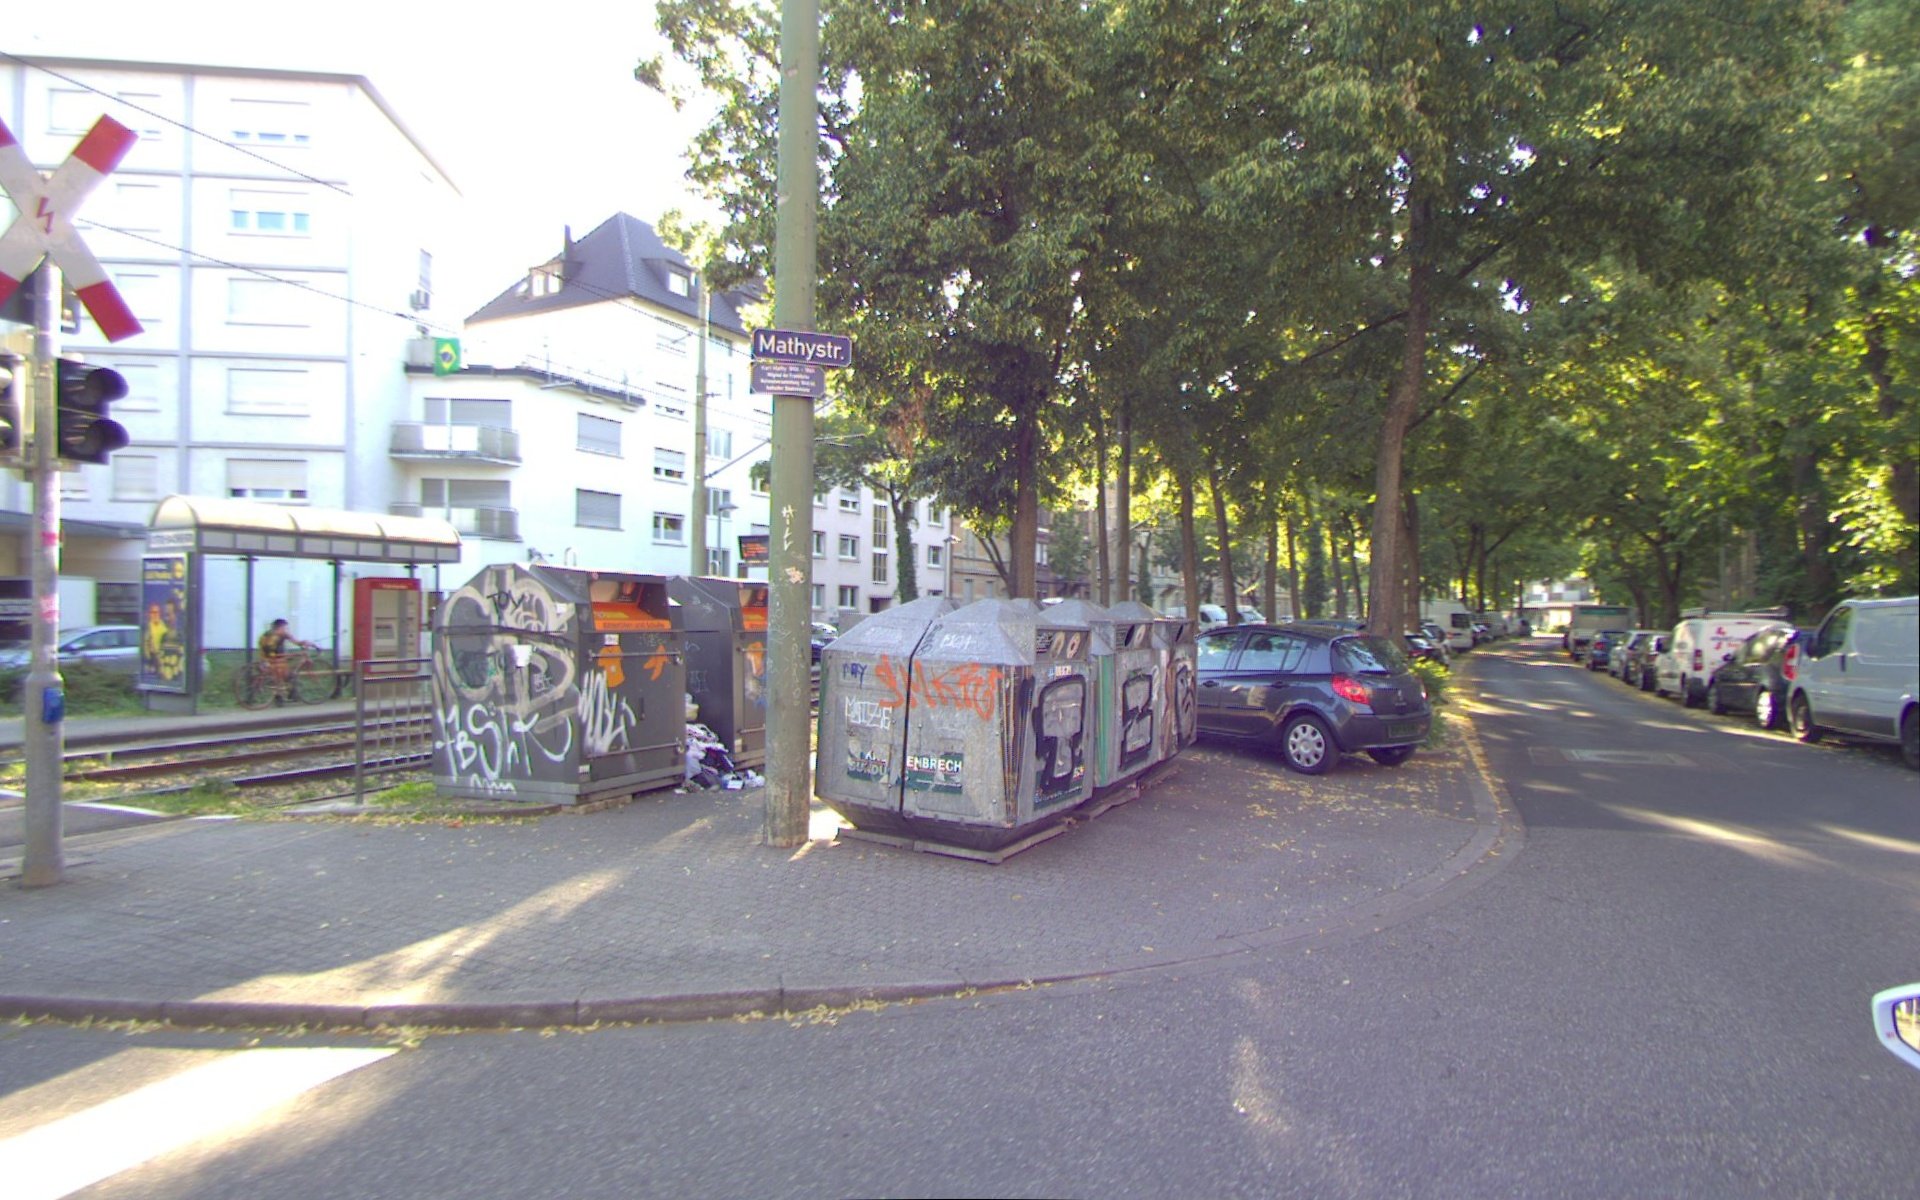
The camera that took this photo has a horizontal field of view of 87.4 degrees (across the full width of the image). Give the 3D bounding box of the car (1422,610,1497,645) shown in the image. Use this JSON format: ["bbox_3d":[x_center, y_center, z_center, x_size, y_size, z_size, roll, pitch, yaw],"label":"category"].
[{"bbox_3d":[33.208,1.802,66.849,1.798,2.067,4.060,3,0,-29],"label":"car"}]

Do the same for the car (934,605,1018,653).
[{"bbox_3d":[0.590,1.250,41.656,1.832,1.771,4.218,-2,-3,-24],"label":"car"}]

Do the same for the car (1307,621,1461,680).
[{"bbox_3d":[12.532,1.480,29.848,1.724,1.409,3.783,3,0,-41],"label":"car"}]

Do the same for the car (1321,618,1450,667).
[{"bbox_3d":[15.033,1.480,35.609,1.724,1.440,3.783,3,0,-41],"label":"car"}]

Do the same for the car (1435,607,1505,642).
[{"bbox_3d":[36.617,1.728,72.231,1.798,2.239,4.060,3,0,-29],"label":"car"}]

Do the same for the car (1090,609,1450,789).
[{"bbox_3d":[3.381,0.978,11.545,1.593,1.541,3.696,1,2,-37],"label":"car"}]

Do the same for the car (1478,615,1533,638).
[{"bbox_3d":[49.887,2.397,91.967,1.798,1.813,4.060,3,0,-29],"label":"car"}]

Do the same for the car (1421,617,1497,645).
[{"bbox_3d":[32.069,1.953,64.661,1.798,1.493,4.060,3,0,-29],"label":"car"}]

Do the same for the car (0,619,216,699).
[{"bbox_3d":[-17.798,1.137,20.405,1.684,1.465,3.997,-1,-1,25],"label":"car"}]

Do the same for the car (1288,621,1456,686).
[{"bbox_3d":[11.087,1.403,27.194,1.724,1.409,3.783,3,0,-41],"label":"car"}]

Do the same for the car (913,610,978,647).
[{"bbox_3d":[-0.768,1.553,55.231,1.686,1.958,3.990,-1,-1,32],"label":"car"}]

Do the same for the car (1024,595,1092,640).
[{"bbox_3d":[6.754,1.193,68.641,2.516,2.925,5.468,-1,-1,32],"label":"car"}]

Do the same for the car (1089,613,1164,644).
[{"bbox_3d":[9.393,1.640,57.013,1.837,1.492,4.206,-1,-3,-32],"label":"car"}]

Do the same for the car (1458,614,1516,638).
[{"bbox_3d":[46.057,2.254,87.828,1.798,1.813,4.060,3,0,-29],"label":"car"}]

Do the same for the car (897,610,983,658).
[{"bbox_3d":[-0.837,1.379,39.384,1.832,1.672,4.218,-2,-3,-24],"label":"car"}]

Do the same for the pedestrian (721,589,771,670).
[{"bbox_3d":[-5.204,0.709,24.462,0.834,1.936,0.837,0,-1,23],"label":"pedestrian"}]

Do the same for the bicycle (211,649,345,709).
[{"bbox_3d":[-10.164,1.154,15.023,0.442,0.794,1.641,0,-1,27],"label":"bicycle"}]

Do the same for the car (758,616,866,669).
[{"bbox_3d":[-4.756,1.368,31.792,1.592,1.477,4.200,-1,-3,-36],"label":"car"}]

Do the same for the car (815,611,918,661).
[{"bbox_3d":[-3.253,1.259,34.256,1.592,1.477,4.200,-1,-3,-36],"label":"car"}]

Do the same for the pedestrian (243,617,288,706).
[{"bbox_3d":[-10.512,0.916,15.210,0.331,1.318,0.451,0,0,27],"label":"pedestrian"}]

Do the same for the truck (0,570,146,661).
[{"bbox_3d":[-27.339,0.456,29.618,4.878,2.568,1.999,1,-1,-5],"label":"truck"}]

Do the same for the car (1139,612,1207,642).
[{"bbox_3d":[13.744,1.782,64.943,1.837,1.721,4.206,-1,-3,-32],"label":"car"}]

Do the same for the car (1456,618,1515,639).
[{"bbox_3d":[44.625,2.369,85.327,1.798,1.493,4.060,3,0,-29],"label":"car"}]

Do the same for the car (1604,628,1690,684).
[{"bbox_3d":[20.145,1.581,29.577,1.547,1.487,3.597,0,-1,25],"label":"car"}]

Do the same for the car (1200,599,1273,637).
[{"bbox_3d":[21.290,1.452,77.506,2.248,2.605,5.226,-1,-3,-32],"label":"car"}]

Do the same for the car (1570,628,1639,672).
[{"bbox_3d":[22.262,1.684,34.783,1.547,1.403,3.597,0,-1,25],"label":"car"}]

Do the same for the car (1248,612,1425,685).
[{"bbox_3d":[9.463,1.193,25.467,1.724,1.516,3.783,3,0,-41],"label":"car"}]

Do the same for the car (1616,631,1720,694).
[{"bbox_3d":[17.775,1.512,25.360,1.547,1.404,3.597,0,-1,25],"label":"car"}]

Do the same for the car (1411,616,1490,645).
[{"bbox_3d":[30.472,1.897,62.516,1.798,1.493,4.060,3,0,-29],"label":"car"}]

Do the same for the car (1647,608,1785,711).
[{"bbox_3d":[15.589,1.147,20.898,1.547,1.929,3.898,0,-1,26],"label":"car"}]

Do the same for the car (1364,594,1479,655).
[{"bbox_3d":[21.103,1.081,46.118,1.798,2.509,4.464,3,0,-29],"label":"car"}]

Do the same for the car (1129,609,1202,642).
[{"bbox_3d":[12.212,1.568,59.956,1.837,1.721,4.206,-1,-3,-32],"label":"car"}]

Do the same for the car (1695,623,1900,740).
[{"bbox_3d":[13.562,1.218,16.503,1.546,1.659,3.710,0,-1,23],"label":"car"}]

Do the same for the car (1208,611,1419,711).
[{"bbox_3d":[6.792,1.101,19.611,1.592,1.583,3.581,1,2,-36],"label":"car"}]

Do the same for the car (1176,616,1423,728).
[{"bbox_3d":[5.531,1.099,16.718,1.593,1.467,3.580,1,2,-37],"label":"car"}]

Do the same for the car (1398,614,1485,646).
[{"bbox_3d":[27.060,1.687,56.547,1.798,1.493,4.060,3,0,-29],"label":"car"}]

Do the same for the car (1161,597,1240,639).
[{"bbox_3d":[16.746,1.295,70.125,2.248,2.605,5.226,-1,-3,-32],"label":"car"}]

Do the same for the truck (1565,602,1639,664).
[{"bbox_3d":[26.409,1.318,41.459,2.331,2.383,4.376,0,-1,30],"label":"truck"}]

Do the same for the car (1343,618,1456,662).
[{"bbox_3d":[17.745,1.599,40.688,1.724,1.501,3.783,3,0,-41],"label":"car"}]

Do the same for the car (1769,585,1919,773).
[{"bbox_3d":[11.924,0.887,12.204,1.912,2.030,4.659,0,-1,21],"label":"car"}]

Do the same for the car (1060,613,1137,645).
[{"bbox_3d":[7.479,1.616,54.690,1.837,1.492,4.206,-1,-3,-32],"label":"car"}]
